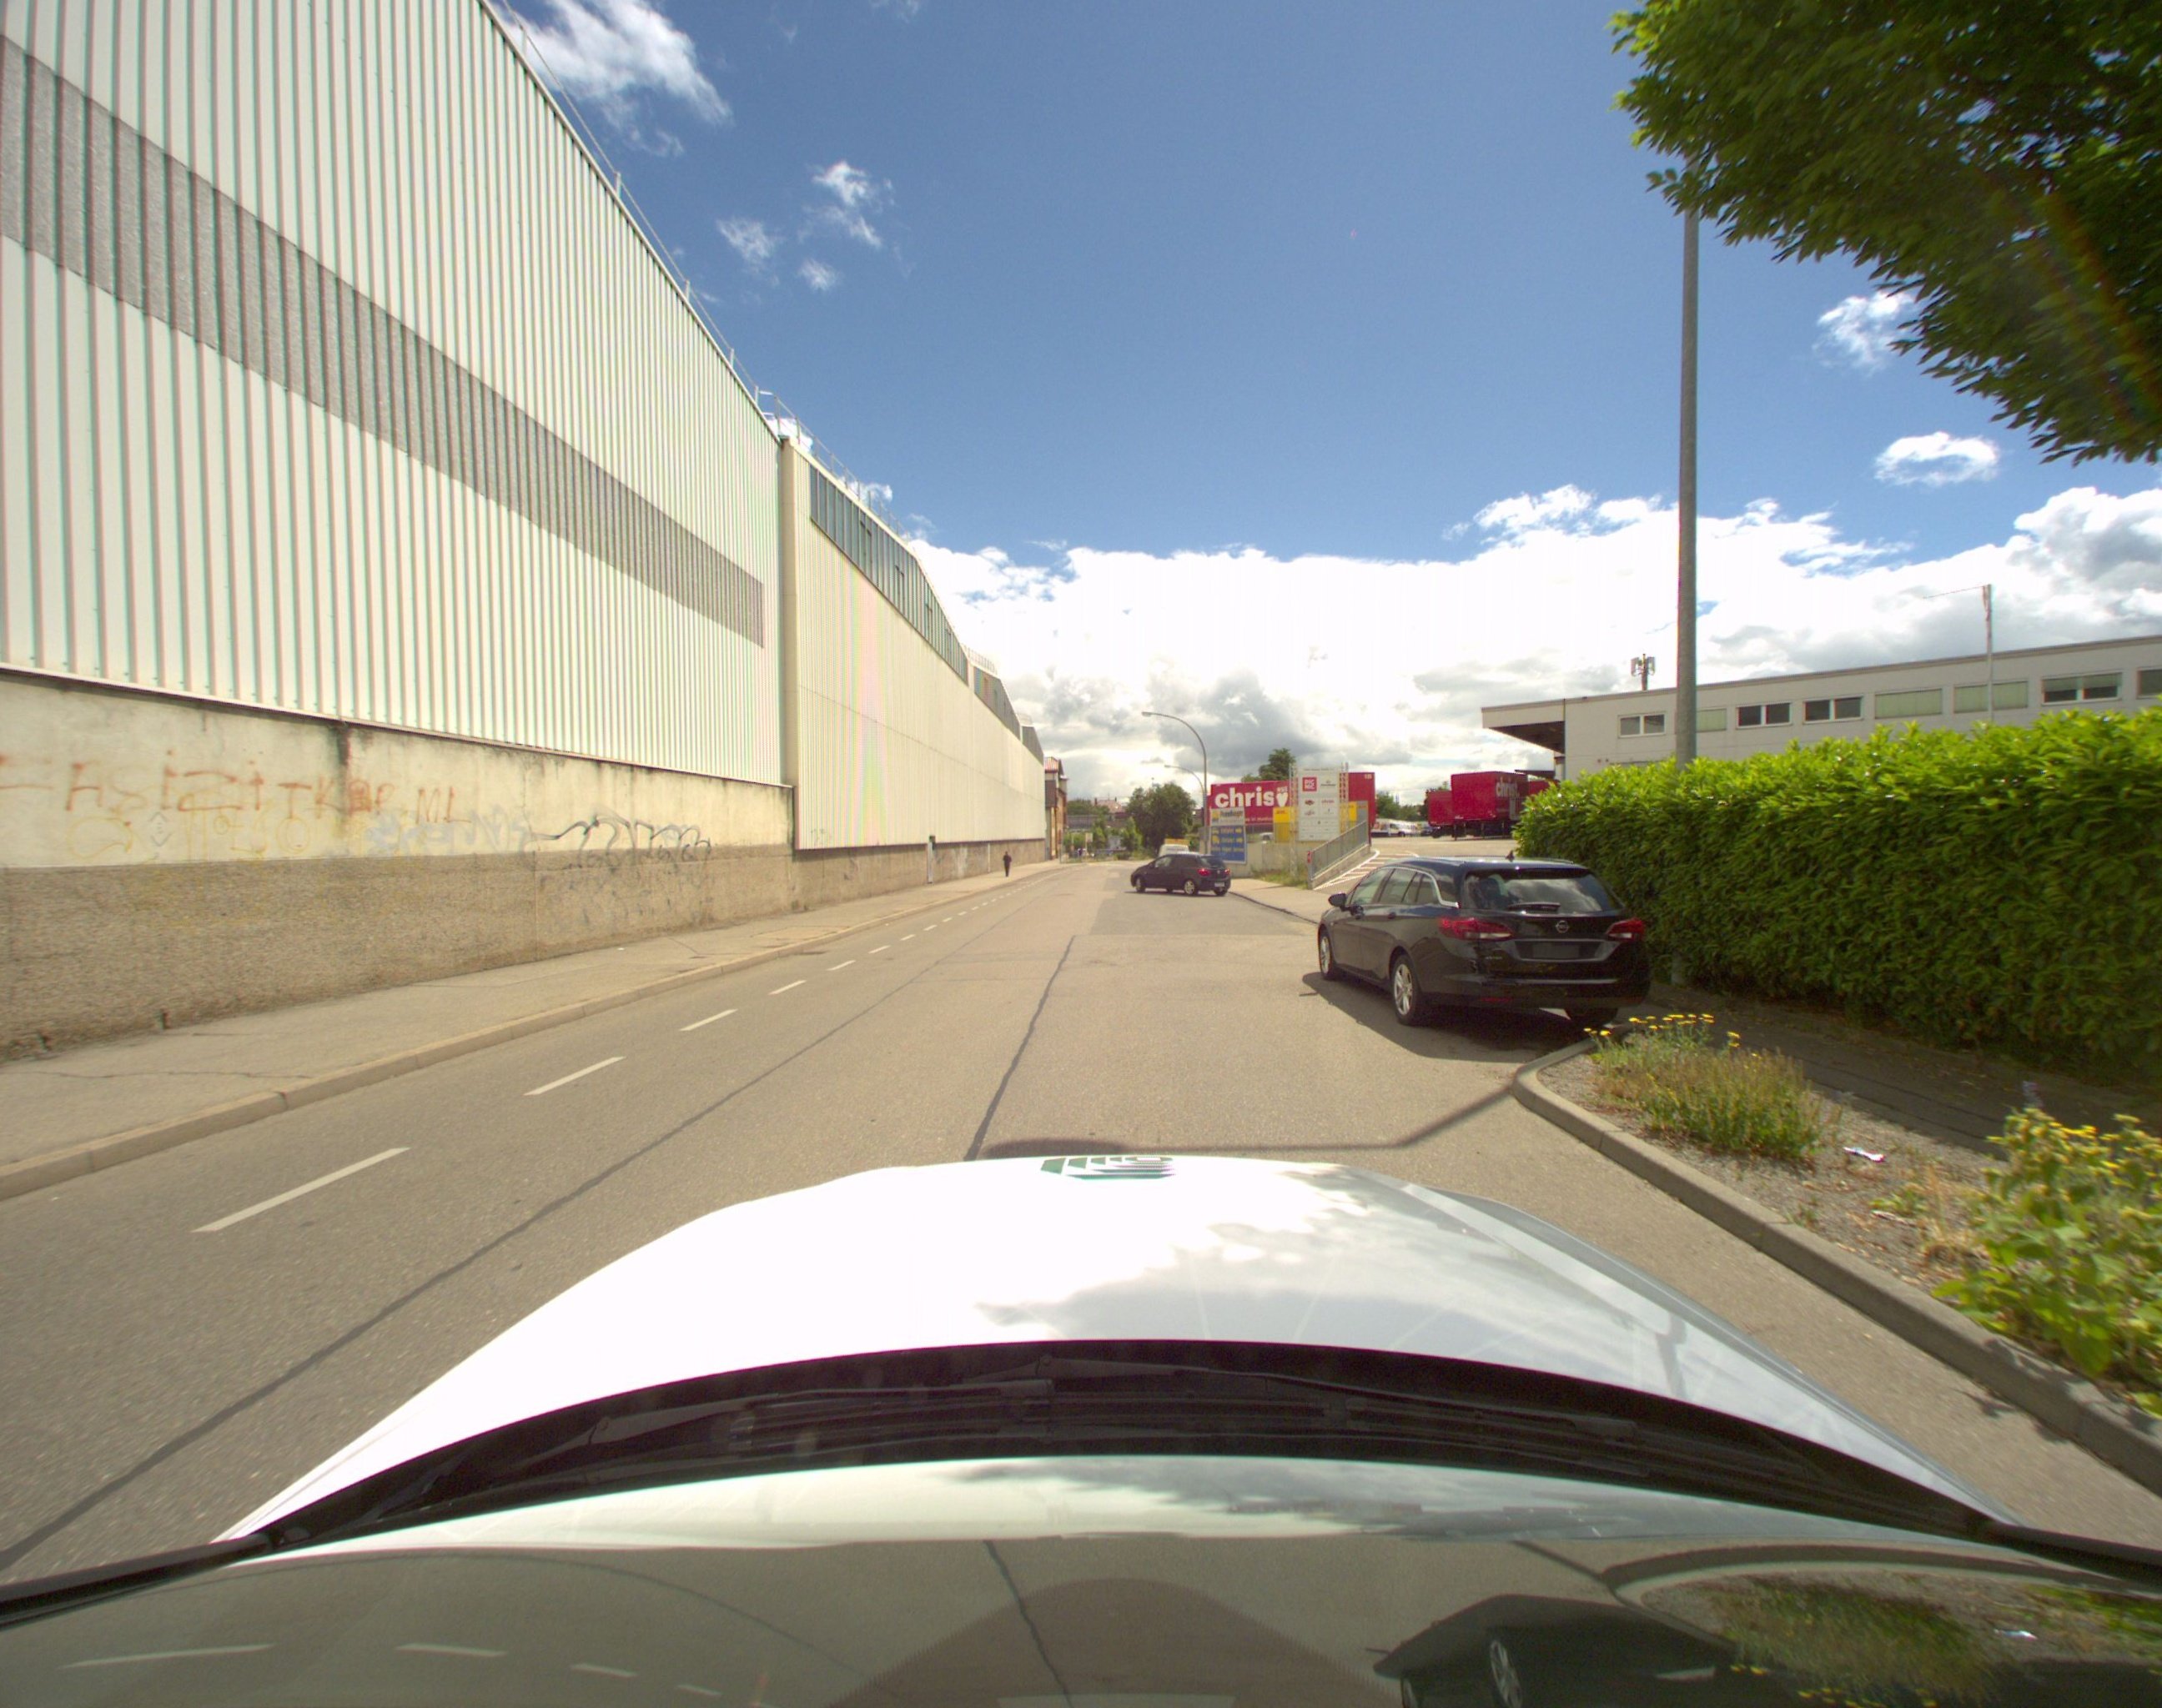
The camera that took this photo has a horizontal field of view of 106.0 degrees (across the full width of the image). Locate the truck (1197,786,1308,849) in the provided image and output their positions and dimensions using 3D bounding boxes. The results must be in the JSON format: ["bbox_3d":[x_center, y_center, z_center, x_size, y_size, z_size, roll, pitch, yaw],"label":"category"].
[{"bbox_3d":[13.732,-2.848,65.384,8.392,4.671,2.591,-1,-2,12],"label":"truck"}]

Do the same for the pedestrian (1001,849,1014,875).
[{"bbox_3d":[-4.653,0.529,51.438,0.709,1.638,0.778,-1,-2,4],"label":"pedestrian"}]

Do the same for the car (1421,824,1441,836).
[{"bbox_3d":[46.079,-3.121,107.137,1.678,1.455,4.340,-2,1,33],"label":"car"}]

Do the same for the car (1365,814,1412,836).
[{"bbox_3d":[40.090,-3.754,106.085,5.589,2.677,2.011,-2,-2,23],"label":"car"}]

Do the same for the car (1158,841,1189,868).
[{"bbox_3d":[5.580,0.006,49.326,1.693,1.527,3.742,-1,0,4],"label":"car"}]

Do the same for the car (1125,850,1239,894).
[{"bbox_3d":[3.537,0.597,28.883,1.716,1.447,3.747,-1,0,-44],"label":"car"}]

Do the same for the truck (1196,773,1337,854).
[{"bbox_3d":[11.876,-2.473,52.204,8.375,4.671,2.596,-2,-2,23],"label":"truck"}]

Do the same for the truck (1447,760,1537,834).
[{"bbox_3d":[26.583,-3.458,52.426,2.961,4.059,8.529,-2,-2,41],"label":"truck"}]

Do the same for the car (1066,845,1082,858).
[{"bbox_3d":[-0.905,-0.282,105.609,1.846,1.486,4.001,-1,-1,2],"label":"car"}]

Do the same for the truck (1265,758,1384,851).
[{"bbox_3d":[13.369,-2.546,45.491,2.579,4.449,7.821,-1,-1,-15],"label":"truck"}]

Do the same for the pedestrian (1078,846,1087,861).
[{"bbox_3d":[0.143,-0.029,89.212,0.849,1.663,0.861,-1,-2,7],"label":"pedestrian"}]

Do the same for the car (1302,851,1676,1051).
[{"bbox_3d":[3.676,0.725,8.380,1.707,1.473,4.513,-1,0,2],"label":"car"}]

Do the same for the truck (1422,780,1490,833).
[{"bbox_3d":[33.189,-4.034,71.852,2.961,4.059,8.529,-2,-2,41],"label":"truck"}]

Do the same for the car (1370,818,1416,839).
[{"bbox_3d":[41.638,-3.424,108.733,5.589,2.541,2.011,-2,-2,23],"label":"car"}]

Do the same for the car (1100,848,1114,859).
[{"bbox_3d":[3.730,-0.078,117.053,1.846,1.486,4.001,-1,-1,2],"label":"car"}]

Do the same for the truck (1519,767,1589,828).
[{"bbox_3d":[36.963,-4.255,63.472,2.961,4.059,8.529,-2,-2,41],"label":"truck"}]

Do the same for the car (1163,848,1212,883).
[{"bbox_3d":[4.967,0.505,38.501,1.696,1.527,3.736,2,1,-1],"label":"car"}]
